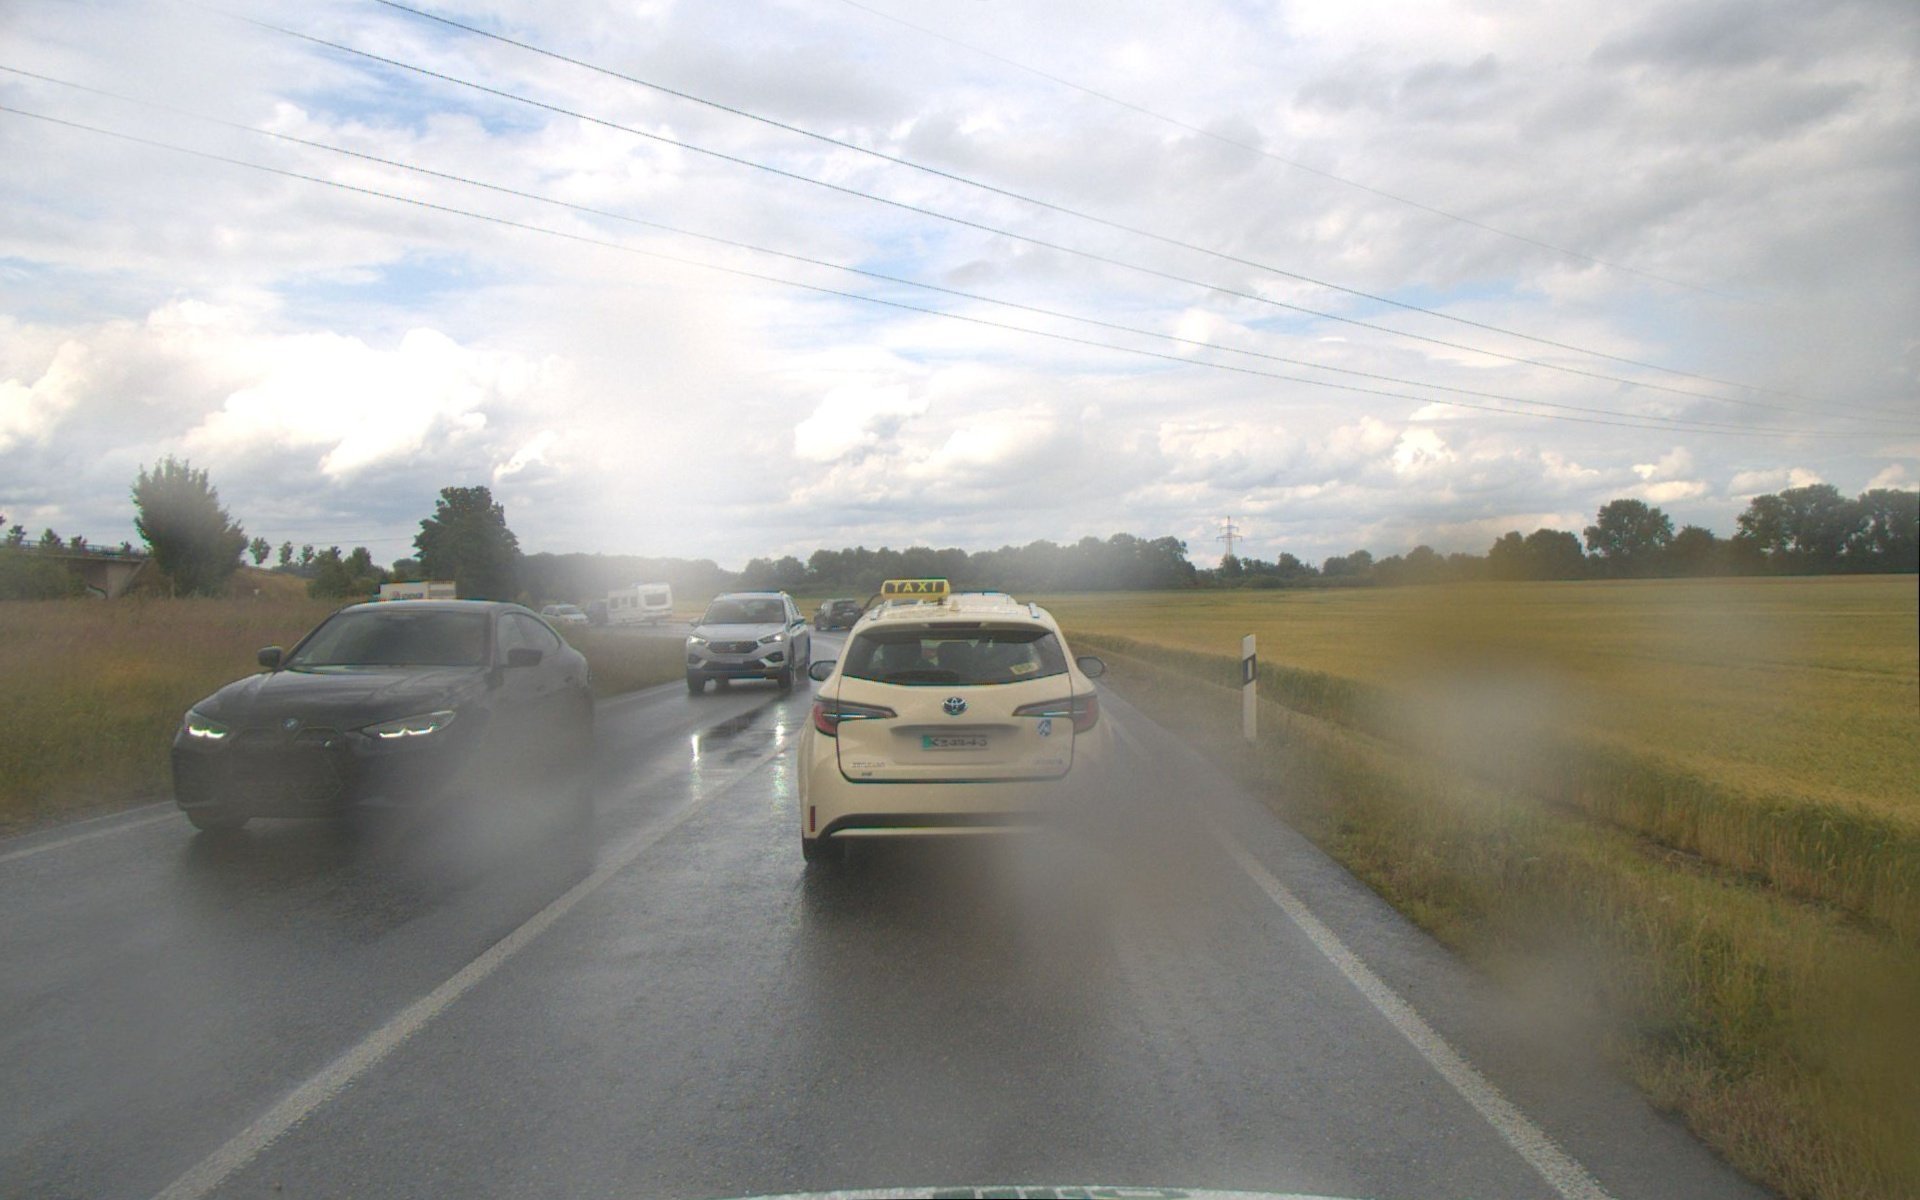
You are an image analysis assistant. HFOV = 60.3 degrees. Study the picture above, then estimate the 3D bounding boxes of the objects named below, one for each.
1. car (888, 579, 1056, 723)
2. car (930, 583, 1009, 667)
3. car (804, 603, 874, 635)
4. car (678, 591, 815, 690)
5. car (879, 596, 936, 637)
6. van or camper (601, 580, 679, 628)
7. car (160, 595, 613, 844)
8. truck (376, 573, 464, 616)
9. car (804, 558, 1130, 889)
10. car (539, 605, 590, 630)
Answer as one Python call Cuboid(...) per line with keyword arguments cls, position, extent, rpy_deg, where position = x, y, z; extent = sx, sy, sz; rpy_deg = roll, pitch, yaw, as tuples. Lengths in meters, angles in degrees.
Cuboid(cls="car", position=(0.084, 0.570, 20.425), extent=(1.804, 1.518, 4.606), rpy_deg=(2, 0, -1))
Cuboid(cls="car", position=(0.170, 0.566, 35.973), extent=(1.580, 1.688, 3.737), rpy_deg=(2, -1, -1))
Cuboid(cls="car", position=(-5.745, 0.896, 78.075), extent=(1.933, 1.438, 4.360), rpy_deg=(2, -2, -23))
Cuboid(cls="car", position=(-3.729, 0.675, 29.548), extent=(1.870, 1.637, 4.091), rpy_deg=(-1, 0, 0))
Cuboid(cls="car", position=(-1.981, 0.642, 61.489), extent=(1.583, 1.438, 3.729), rpy_deg=(2, -1, -10))
Cuboid(cls="van or camper", position=(-21.008, 0.239, 108.385), extent=(2.515, 2.946, 6.662), rpy_deg=(2, 0, -34))
Cuboid(cls="car", position=(-3.862, 0.718, 11.942), extent=(1.811, 1.473, 4.091), rpy_deg=(-1, 0, 0))
Cuboid(cls="truck", position=(-43.865, -0.433, 134.222), extent=(8.080, 3.266, 3.007), rpy_deg=(1, -2, 40))
Cuboid(cls="car", position=(0.150, 0.658, 10.083), extent=(1.579, 1.590, 3.739), rpy_deg=(2, -1, 4))
Cuboid(cls="car", position=(-25.904, 1.135, 108.266), extent=(1.753, 1.568, 4.174), rpy_deg=(3, -2, -35))
